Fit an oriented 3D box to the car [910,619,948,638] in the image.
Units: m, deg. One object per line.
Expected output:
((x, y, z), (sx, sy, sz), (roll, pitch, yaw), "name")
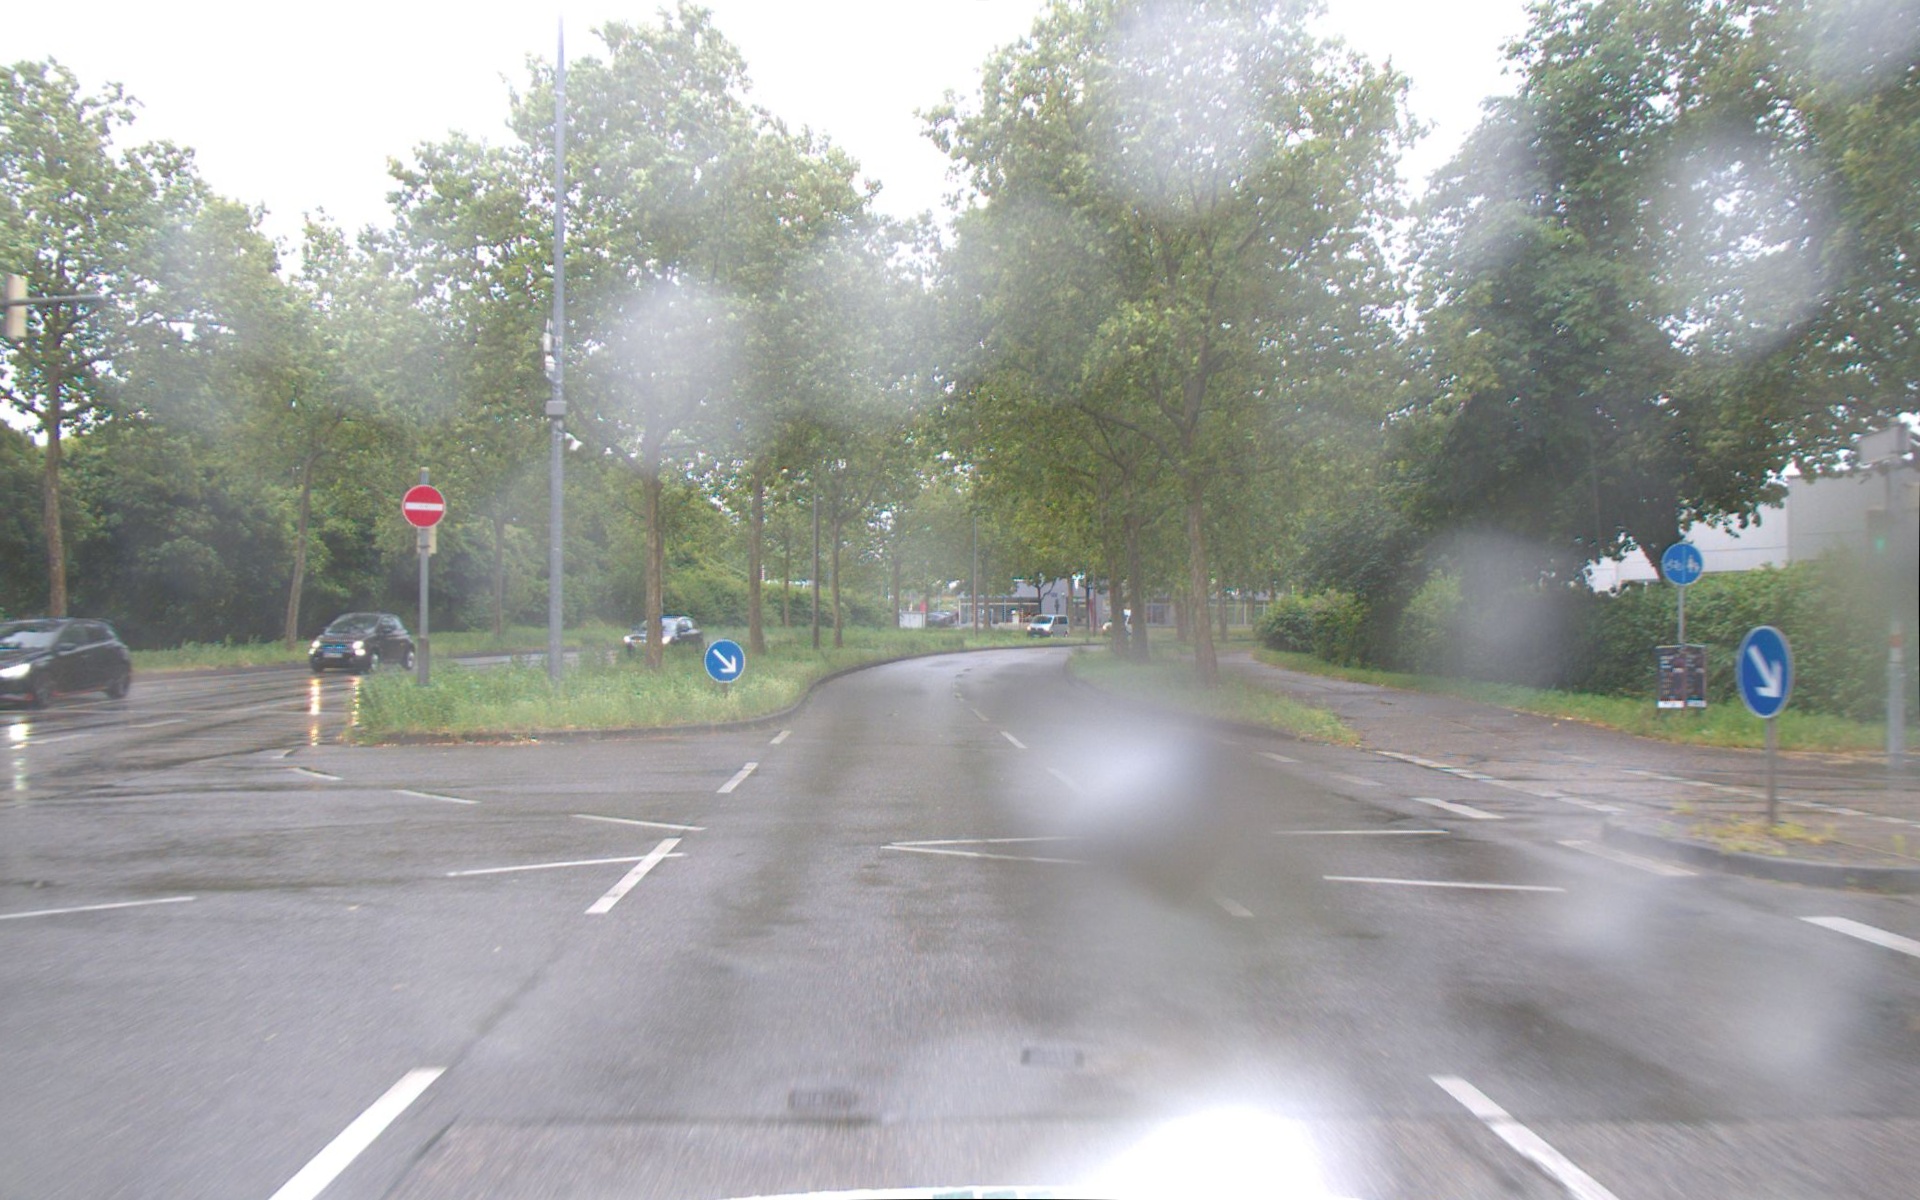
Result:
((-3.312, 3.062, 177.136), (3.914, 2.049, 1.995), (0, -2, -10), "car")

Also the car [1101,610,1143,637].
((13.776, 1.986, 140.171), (2.235, 2.311, 5.969), (0, -1, 19), "car")

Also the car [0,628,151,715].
((-15.904, 1.203, 28.846), (1.555, 1.397, 4.260), (0, -1, -1), "car")

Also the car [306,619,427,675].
((-15.506, 1.206, 43.440), (1.554, 1.397, 4.262), (-1, -1, 1), "car")

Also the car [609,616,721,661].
((-10.173, 1.311, 57.531), (1.961, 1.477, 4.995), (-1, -1, 14), "car")

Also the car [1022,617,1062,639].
((6.236, 2.091, 124.983), (1.930, 1.591, 4.733), (0, -1, 17), "car")
